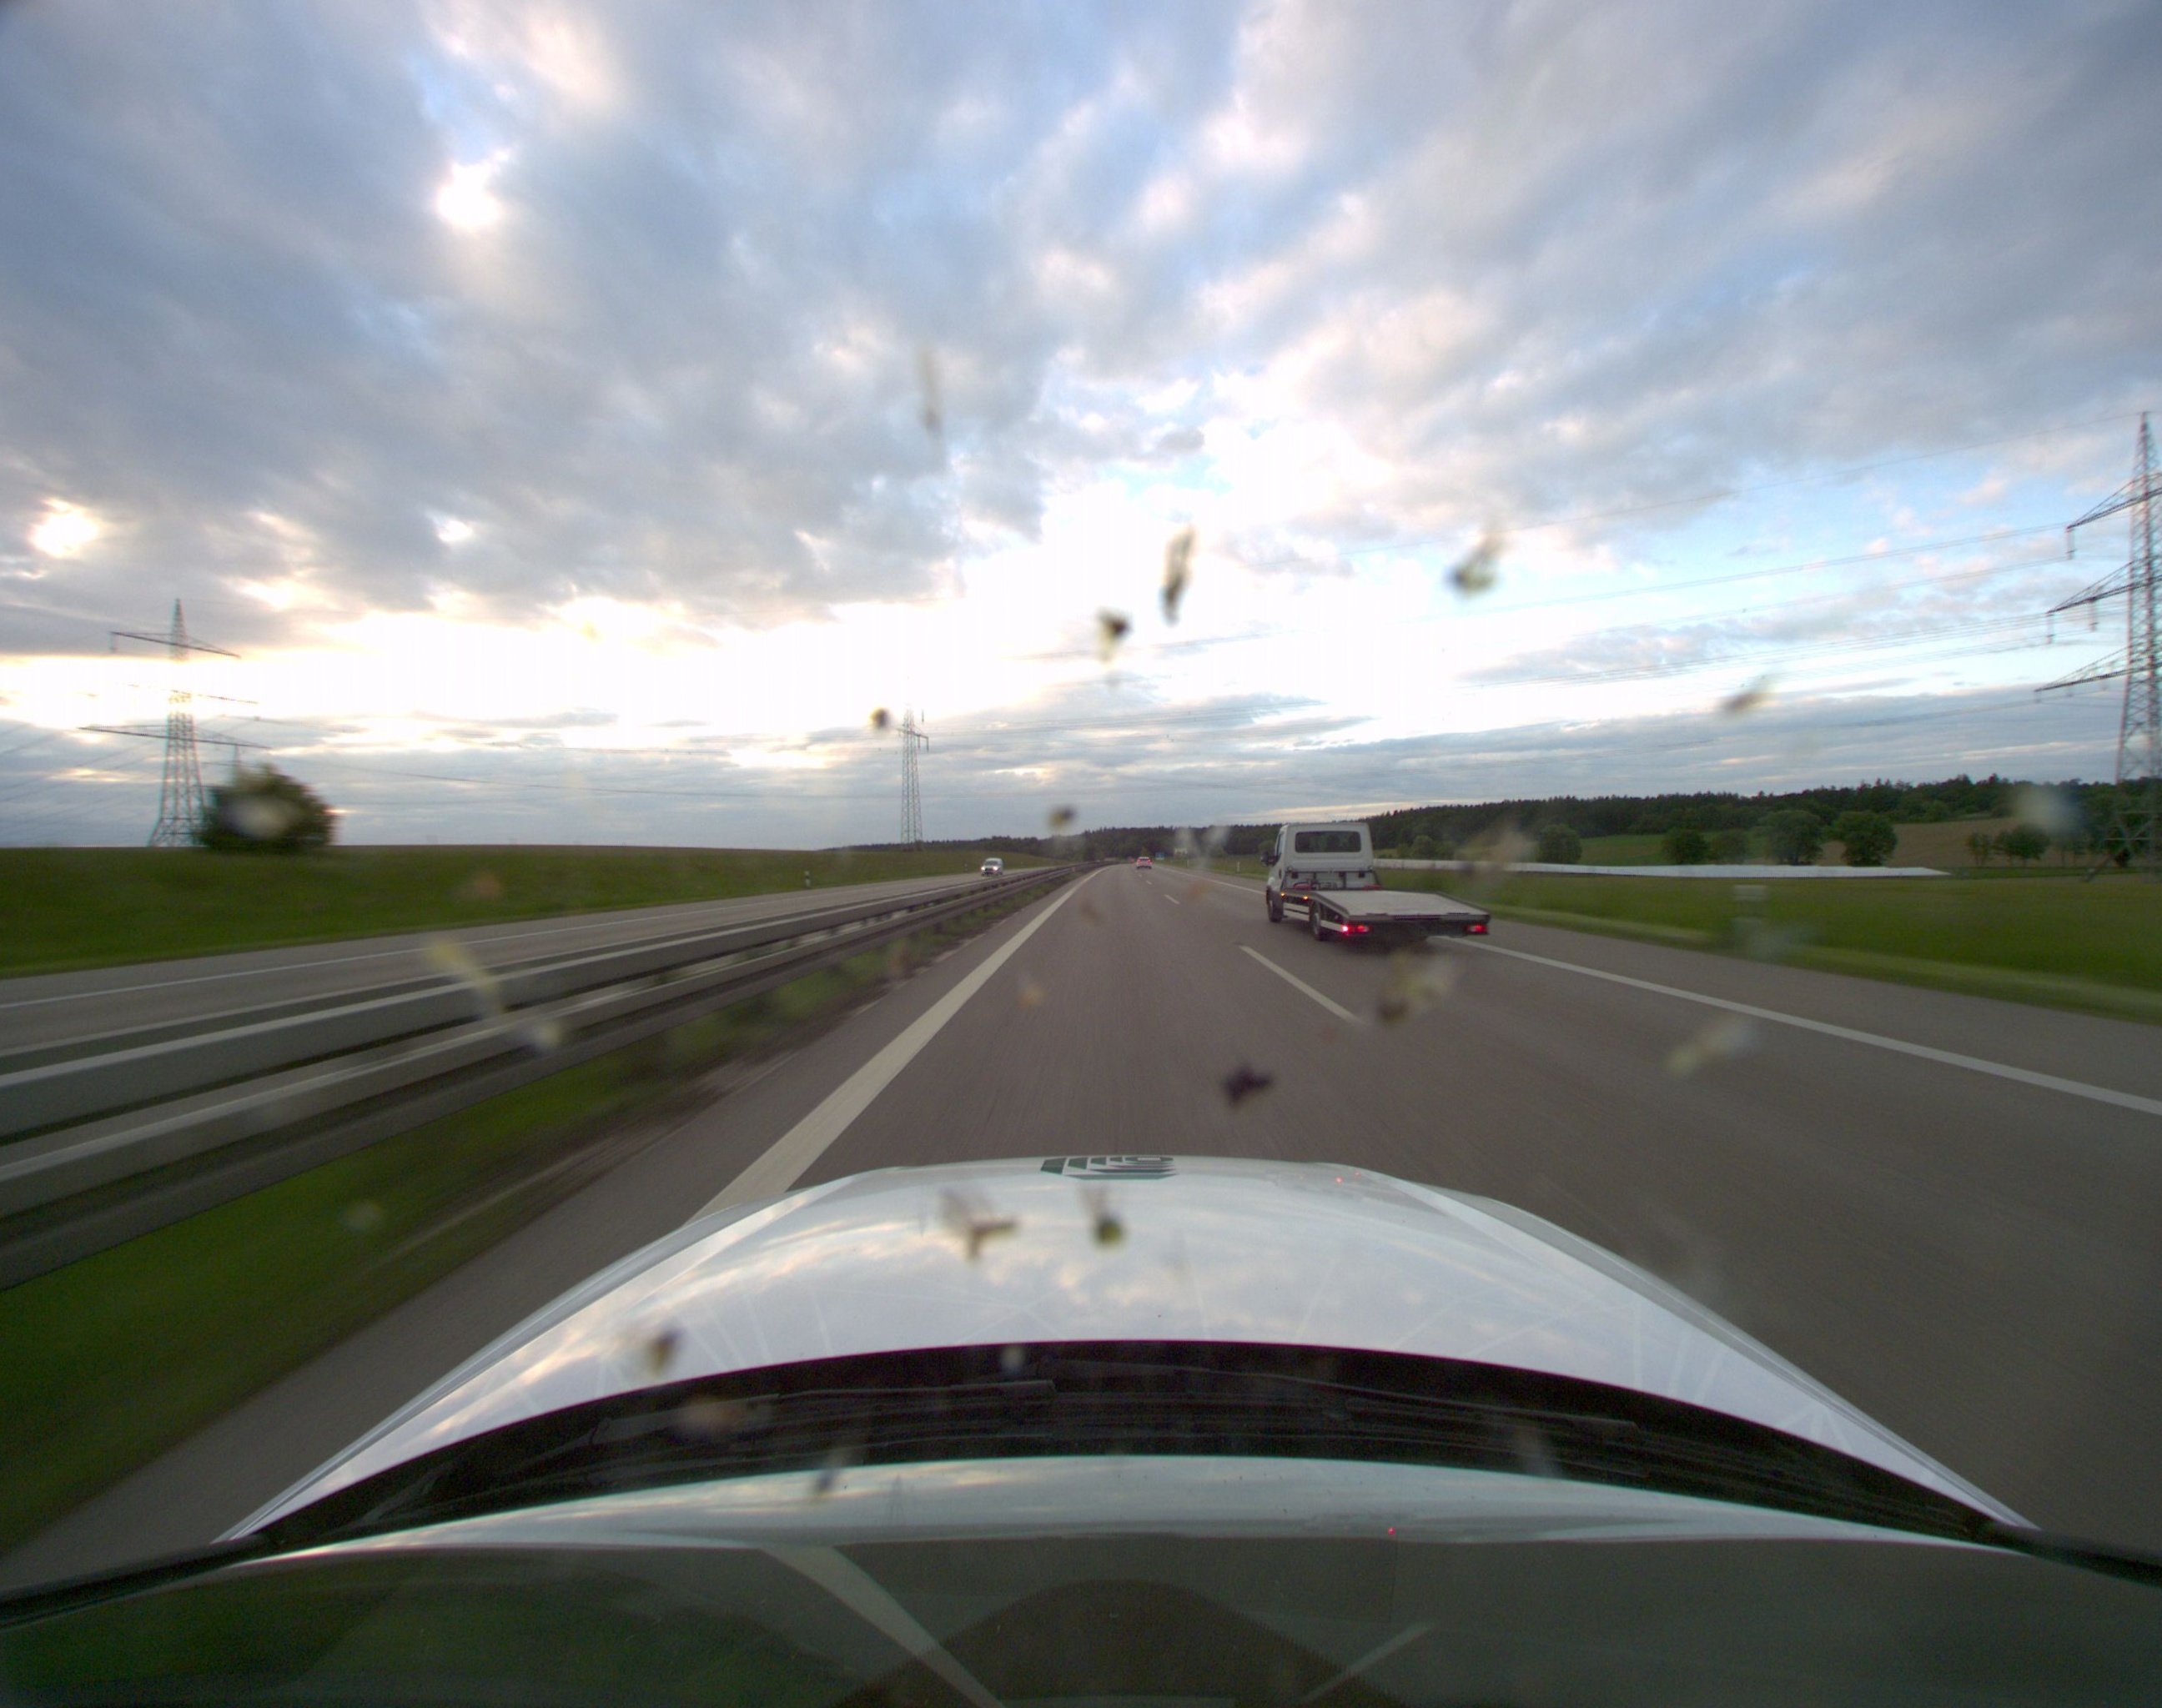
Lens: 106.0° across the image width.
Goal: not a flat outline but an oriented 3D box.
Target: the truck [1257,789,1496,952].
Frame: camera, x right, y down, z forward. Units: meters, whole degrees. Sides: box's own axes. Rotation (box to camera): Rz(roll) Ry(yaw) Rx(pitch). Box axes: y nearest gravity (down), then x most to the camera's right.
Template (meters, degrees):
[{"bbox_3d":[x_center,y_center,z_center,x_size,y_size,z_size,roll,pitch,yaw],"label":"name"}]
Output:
[{"bbox_3d":[5.128,0.244,15.710,2.163,2.360,7.701,0,0,3],"label":"truck"}]

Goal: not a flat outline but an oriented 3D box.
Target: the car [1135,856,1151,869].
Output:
[{"bbox_3d":[7.652,1.039,100.839,1.944,1.531,4.083,0,0,2],"label":"car"}]

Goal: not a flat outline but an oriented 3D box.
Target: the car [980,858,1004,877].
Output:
[{"bbox_3d":[-9.130,1.386,83.824,1.754,1.802,4.997,-2,0,2],"label":"car"}]
